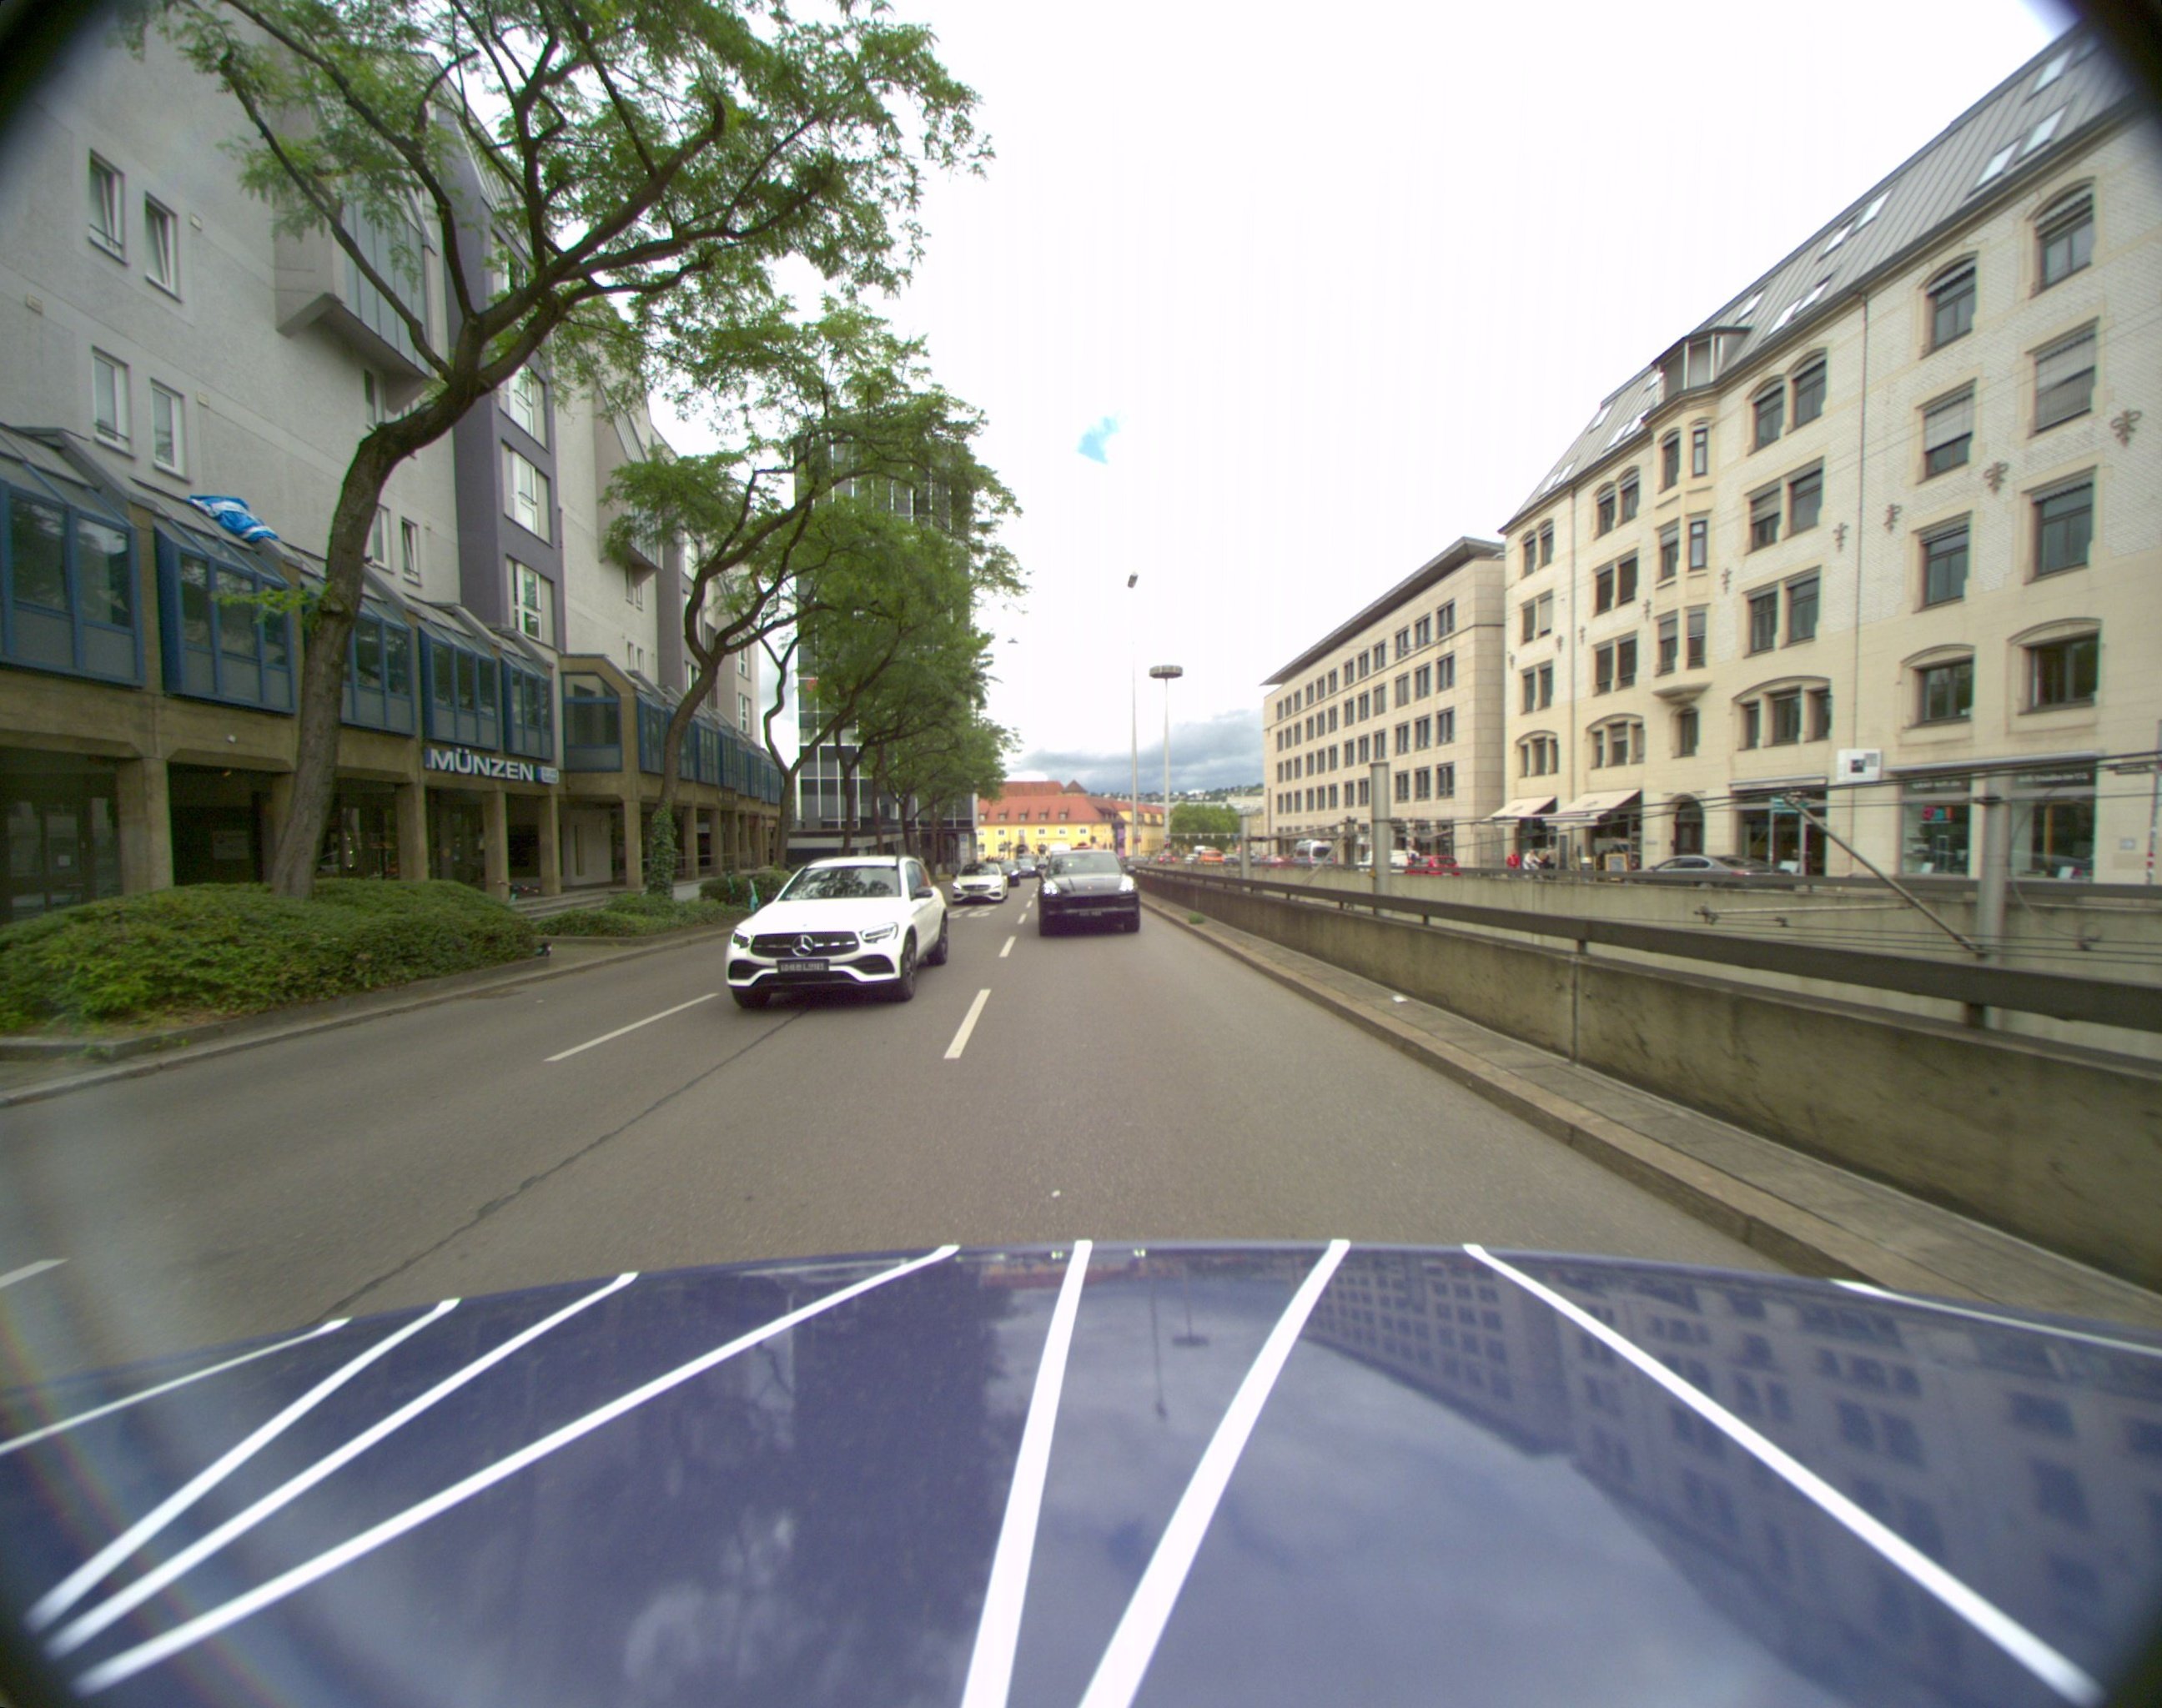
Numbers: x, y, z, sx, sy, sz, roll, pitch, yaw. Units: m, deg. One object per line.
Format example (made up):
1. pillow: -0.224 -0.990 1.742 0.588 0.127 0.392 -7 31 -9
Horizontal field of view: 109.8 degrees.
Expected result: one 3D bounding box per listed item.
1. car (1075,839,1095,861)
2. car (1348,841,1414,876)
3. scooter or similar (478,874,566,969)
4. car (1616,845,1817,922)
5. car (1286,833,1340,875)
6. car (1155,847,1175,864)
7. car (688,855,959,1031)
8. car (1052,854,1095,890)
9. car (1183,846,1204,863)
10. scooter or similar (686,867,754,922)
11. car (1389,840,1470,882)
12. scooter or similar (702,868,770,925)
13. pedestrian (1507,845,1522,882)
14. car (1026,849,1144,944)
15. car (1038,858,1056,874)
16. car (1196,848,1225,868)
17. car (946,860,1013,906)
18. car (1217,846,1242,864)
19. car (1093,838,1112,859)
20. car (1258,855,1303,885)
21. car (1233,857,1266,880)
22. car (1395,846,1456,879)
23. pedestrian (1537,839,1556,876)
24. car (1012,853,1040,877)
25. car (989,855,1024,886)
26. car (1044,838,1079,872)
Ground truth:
1. car: 0.548 -0.509 103.255 2.503 2.793 5.727 -2 1 0
2. car: 18.371 0.240 46.763 1.999 2.002 4.789 -2 1 -1
3. scooter or similar: -8.935 1.067 12.152 1.180 1.426 0.577 -2 1 25
4. car: 19.051 0.784 23.139 1.999 2.002 4.789 -2 1 -1
5. car: 17.968 -0.014 59.103 2.370 3.043 5.468 -2 1 -1
6. car: 9.887 0.157 89.595 1.998 2.002 3.999 -1 0 0
7. car: -2.862 0.887 9.508 2.060 1.599 3.925 -2 1 -1
8. car: -0.338 0.849 37.143 1.949 1.521 3.999 -2 1 0
9. car: 13.904 0.080 93.991 1.998 2.002 3.999 -1 0 0
10. scooter or similar: -10.255 1.129 21.613 1.600 1.426 0.730 -3 1 -32
11. car: 18.520 0.317 40.604 1.999 2.002 4.789 -2 1 -1
12. scooter or similar: -9.279 1.117 20.445 1.536 1.426 0.686 -3 1 -32
13. pedestrian: 20.905 0.439 36.644 0.510 1.769 0.578 -1 1 22
14. car: 0.013 0.776 16.626 2.088 1.665 5.351 -2 0 -1
15. car: -4.031 1.439 90.841 1.890 1.674 4.609 -2 1 -1
16. car: 13.654 0.373 80.197 2.115 2.002 4.789 -2 1 -1
17. car: -3.660 1.010 28.155 1.890 1.378 4.609 -2 1 -1
18. car: 16.791 0.114 86.173 1.998 2.002 3.999 -1 0 0
19. car: 3.034 -0.808 108.897 2.503 2.793 5.727 -2 1 0
20. car: 14.987 1.180 57.404 1.999 2.002 4.789 -2 1 -1
21. car: 16.239 1.339 73.343 1.999 2.002 4.789 -2 1 -1
22. car: 21.966 0.537 48.577 1.999 2.002 3.999 -1 0 -1
23. pedestrian: 22.271 0.167 36.338 0.576 1.769 0.511 -1 1 6
24. car: -4.207 0.806 58.523 1.890 1.674 4.609 -2 1 -1
25. car: -4.248 0.911 43.616 1.640 1.602 3.659 -2 1 -1
26. car: -1.611 0.028 64.667 2.294 2.723 4.755 -2 1 6
